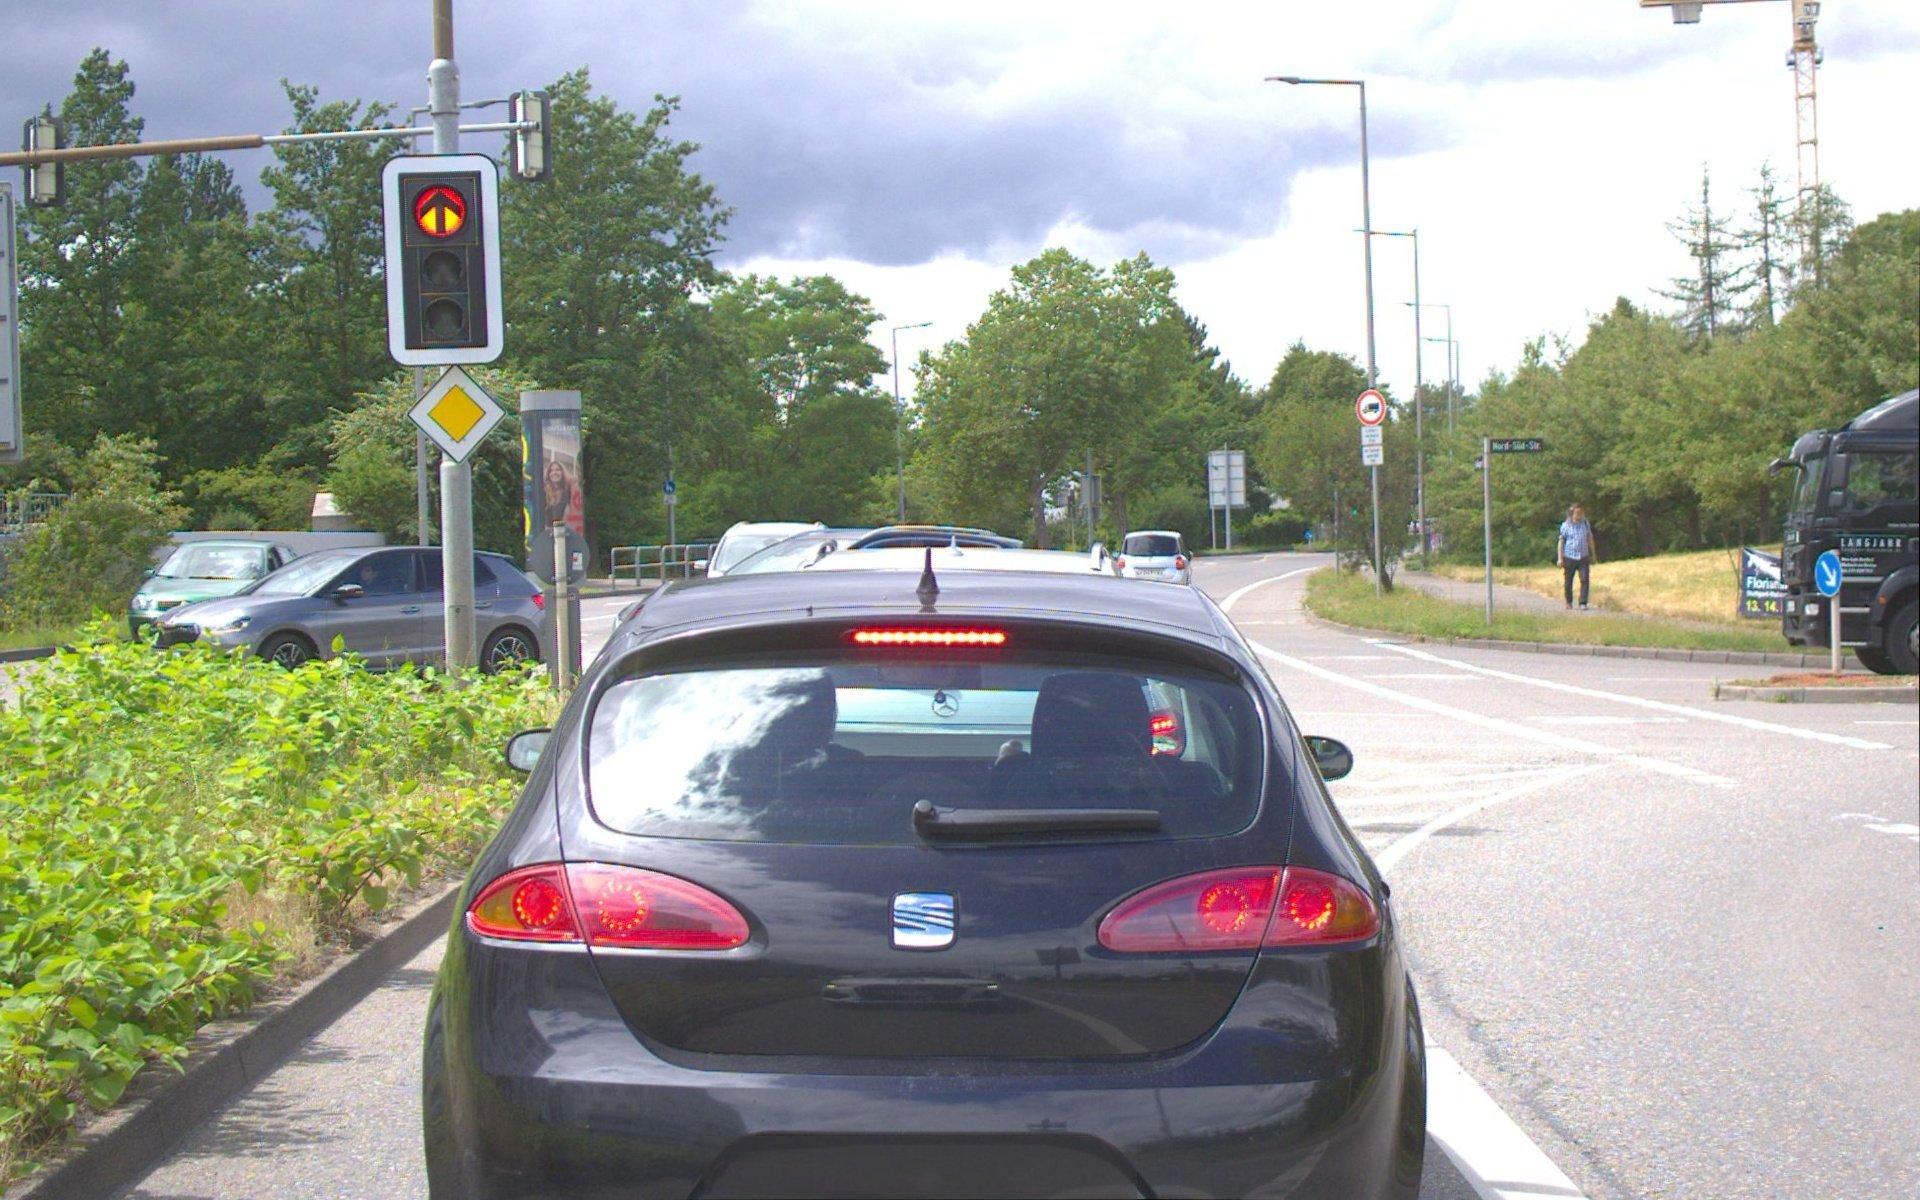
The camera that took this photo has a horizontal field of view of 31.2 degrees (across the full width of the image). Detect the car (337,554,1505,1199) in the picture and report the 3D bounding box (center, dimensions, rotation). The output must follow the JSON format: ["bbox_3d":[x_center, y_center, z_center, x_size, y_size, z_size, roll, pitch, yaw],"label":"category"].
[{"bbox_3d":[-0.083,0.648,7.027,1.773,1.447,3.582,0,1,-1],"label":"car"}]

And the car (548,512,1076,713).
[{"bbox_3d":[-1.260,0.066,30.374,4.306,1.610,1.999,-2,1,-40],"label":"car"}]

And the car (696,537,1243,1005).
[{"bbox_3d":[-0.052,0.531,13.145,1.773,1.486,3.583,-2,1,-3],"label":"car"}]

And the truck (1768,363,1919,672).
[{"bbox_3d":[11.450,-0.941,39.396,3.987,3.457,2.000,0,1,4],"label":"truck"}]

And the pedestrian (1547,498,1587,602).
[{"bbox_3d":[10.111,-0.828,57.251,0.559,1.720,0.588,0,1,0],"label":"pedestrian"}]

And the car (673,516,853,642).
[{"bbox_3d":[-2.588,-0.313,45.989,1.994,1.590,4.000,0,1,3],"label":"car"}]

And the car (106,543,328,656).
[{"bbox_3d":[-9.429,-0.043,43.927,1.993,1.347,4.000,0,1,-1],"label":"car"}]

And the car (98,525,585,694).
[{"bbox_3d":[-6.057,0.055,33.952,4.306,1.520,1.999,-2,1,-42],"label":"car"}]

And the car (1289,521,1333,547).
[{"bbox_3d":[18.602,-3.482,182.185,1.994,1.347,3.998,0,1,10],"label":"car"}]

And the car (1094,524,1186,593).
[{"bbox_3d":[4.167,-0.983,79.129,1.994,1.525,4.000,0,1,4],"label":"car"}]
